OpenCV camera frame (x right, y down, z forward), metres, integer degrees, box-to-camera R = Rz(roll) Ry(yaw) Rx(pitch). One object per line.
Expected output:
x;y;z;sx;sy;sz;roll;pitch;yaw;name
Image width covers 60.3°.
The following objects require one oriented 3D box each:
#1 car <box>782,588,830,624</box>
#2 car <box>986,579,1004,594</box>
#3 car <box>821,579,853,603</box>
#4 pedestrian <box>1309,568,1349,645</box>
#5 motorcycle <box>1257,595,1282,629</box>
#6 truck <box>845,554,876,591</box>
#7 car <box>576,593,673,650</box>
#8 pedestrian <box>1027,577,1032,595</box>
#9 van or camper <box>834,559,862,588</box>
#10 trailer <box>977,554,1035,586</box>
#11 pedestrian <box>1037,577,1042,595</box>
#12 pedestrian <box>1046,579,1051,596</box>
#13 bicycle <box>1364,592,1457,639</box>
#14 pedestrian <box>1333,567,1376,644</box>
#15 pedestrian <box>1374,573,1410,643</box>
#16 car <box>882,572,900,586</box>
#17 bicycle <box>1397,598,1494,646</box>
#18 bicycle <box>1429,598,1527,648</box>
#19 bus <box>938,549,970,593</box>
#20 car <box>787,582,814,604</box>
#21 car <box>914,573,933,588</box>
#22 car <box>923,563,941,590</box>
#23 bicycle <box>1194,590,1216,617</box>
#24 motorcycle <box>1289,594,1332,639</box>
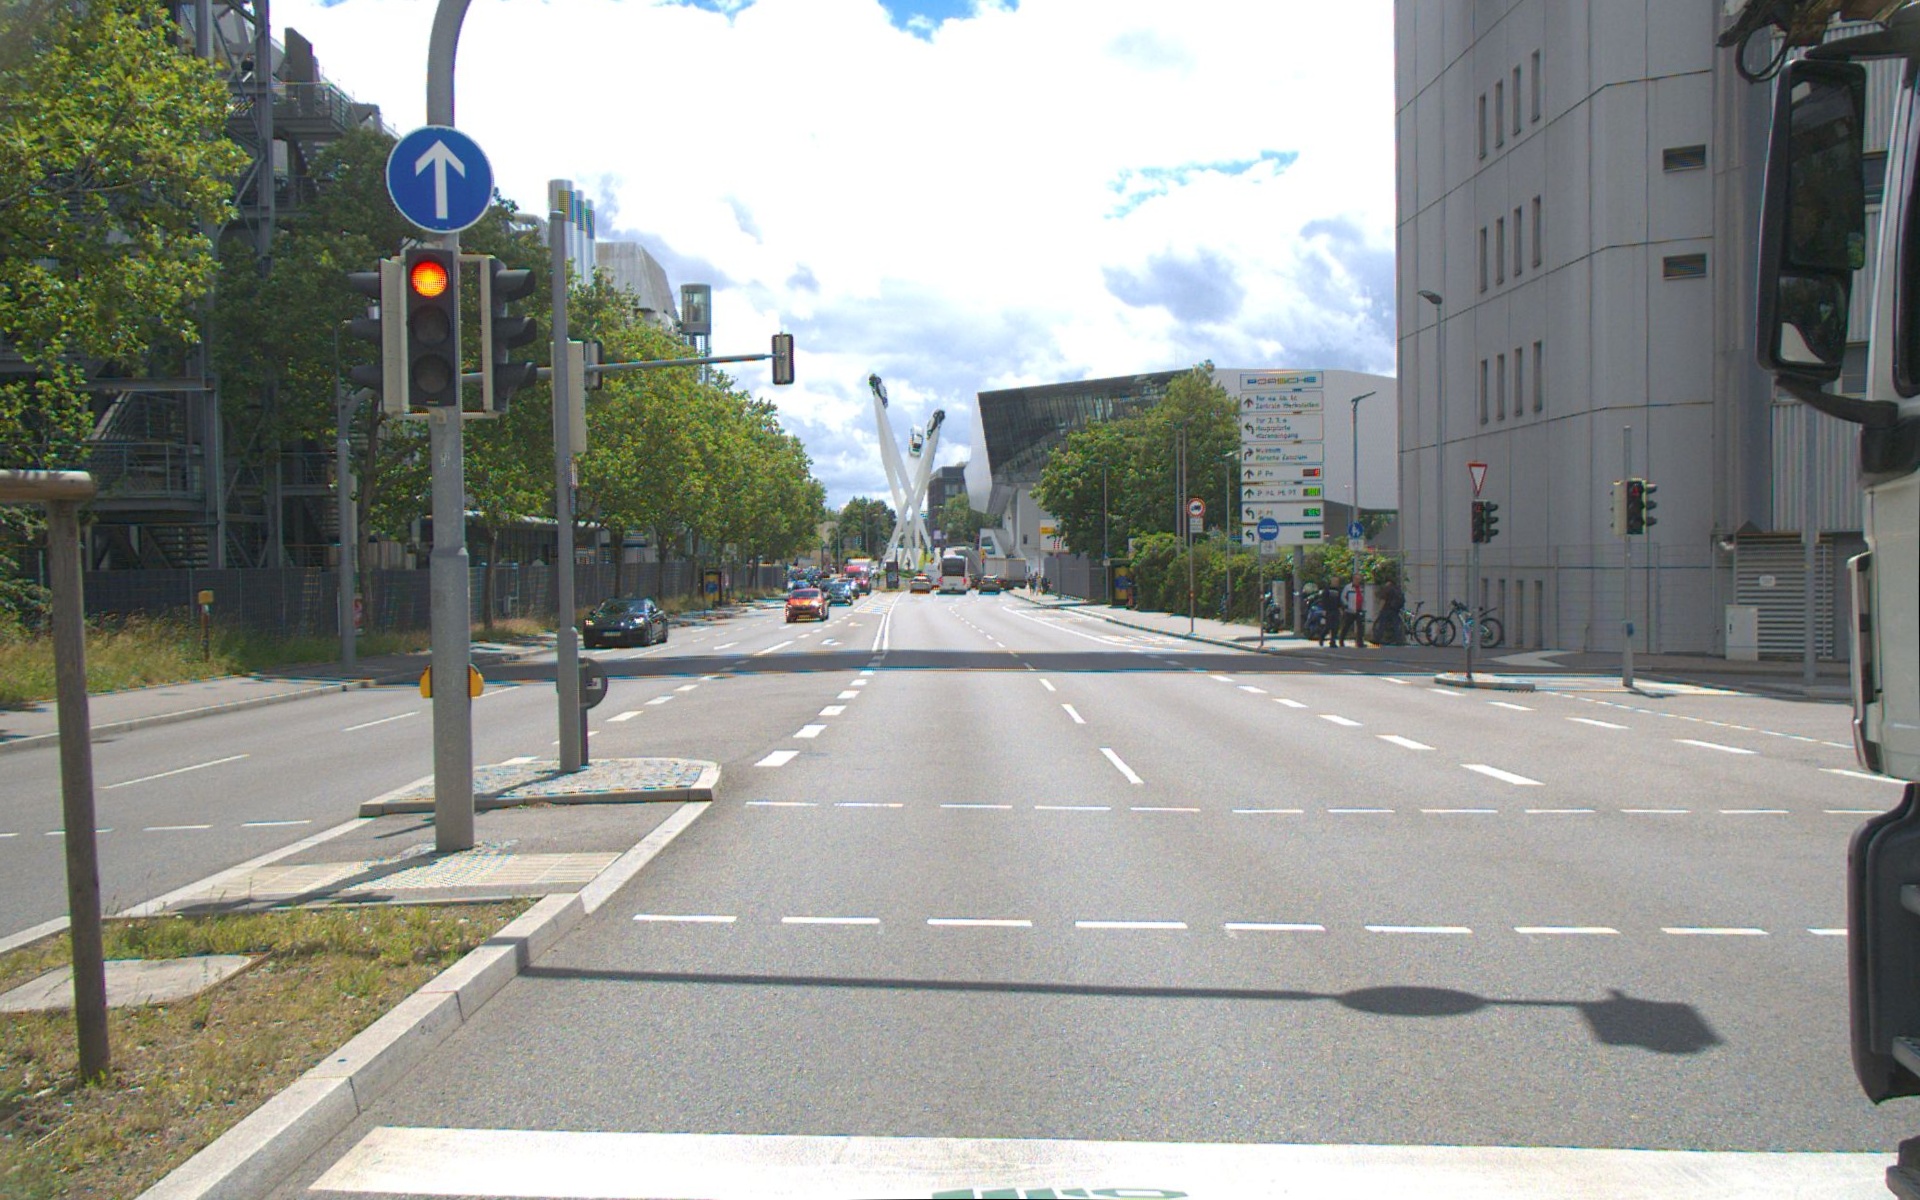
-6.820;0.251;73.697;1.733;1.445;3.701;-2;0;0;car
3.120;-1.190;146.299;1.525;1.295;3.701;-2;0;1;car
-7.845;-0.609;106.081;1.733;1.445;3.701;-2;0;0;car
8.931;0.159;40.031;0.631;1.825;0.709;-3;1;-16;pedestrian
9.744;0.362;52.137;0.448;1.040;1.913;1;0;1;motorcycle
-9.562;-2.661;159.770;2.538;3.382;7.078;1;0;0;truck
-10.016;0.609;49.721;1.878;1.514;4.772;-2;1;0;car
5.794;-1.160;137.881;0.378;1.446;0.423;1;-1;0;pedestrian
-9.686;-2.281;143.063;2.005;2.509;5.594;0;0;0;van or camper
4.854;-3.038;172.250;3.250;3.047;10.380;1;0;18;trailer
6.596;-1.168;136.945;0.378;1.446;0.423;1;-1;0;pedestrian
7.374;-1.053;137.524;0.378;1.446;0.423;1;-1;0;pedestrian
11.156;0.380;41.021;2.180;1.105;0.475;1;-1;35;bicycle
9.588;0.133;40.188;0.680;1.825;0.709;-3;1;-16;pedestrian
10.450;0.193;40.020;0.528;1.669;0.651;1;-1;-33;pedestrian
-6.479;-1.963;155.652;1.525;1.295;3.701;-2;0;0;car
11.642;0.523;39.696;2.180;1.105;0.475;1;-1;35;bicycle
12.096;0.526;38.659;2.149;1.105;0.475;1;-1;35;bicycle
-0.552;-2.528;148.334;2.730;3.750;6.942;1;0;0;bus
-11.983;-0.516;124.628;1.761;1.601;3.998;0;0;-2;car
-3.271;-1.735;148.659;1.525;1.295;3.701;-2;0;1;car
-2.926;-2.399;171.172;1.806;2.669;3.998;1;0;-2;car
9.675;0.145;65.397;0.410;1.040;1.910;1;0;-5;bicycle
9.552;0.445;45.150;0.410;1.186;1.951;1;0;-11;motorcycle
